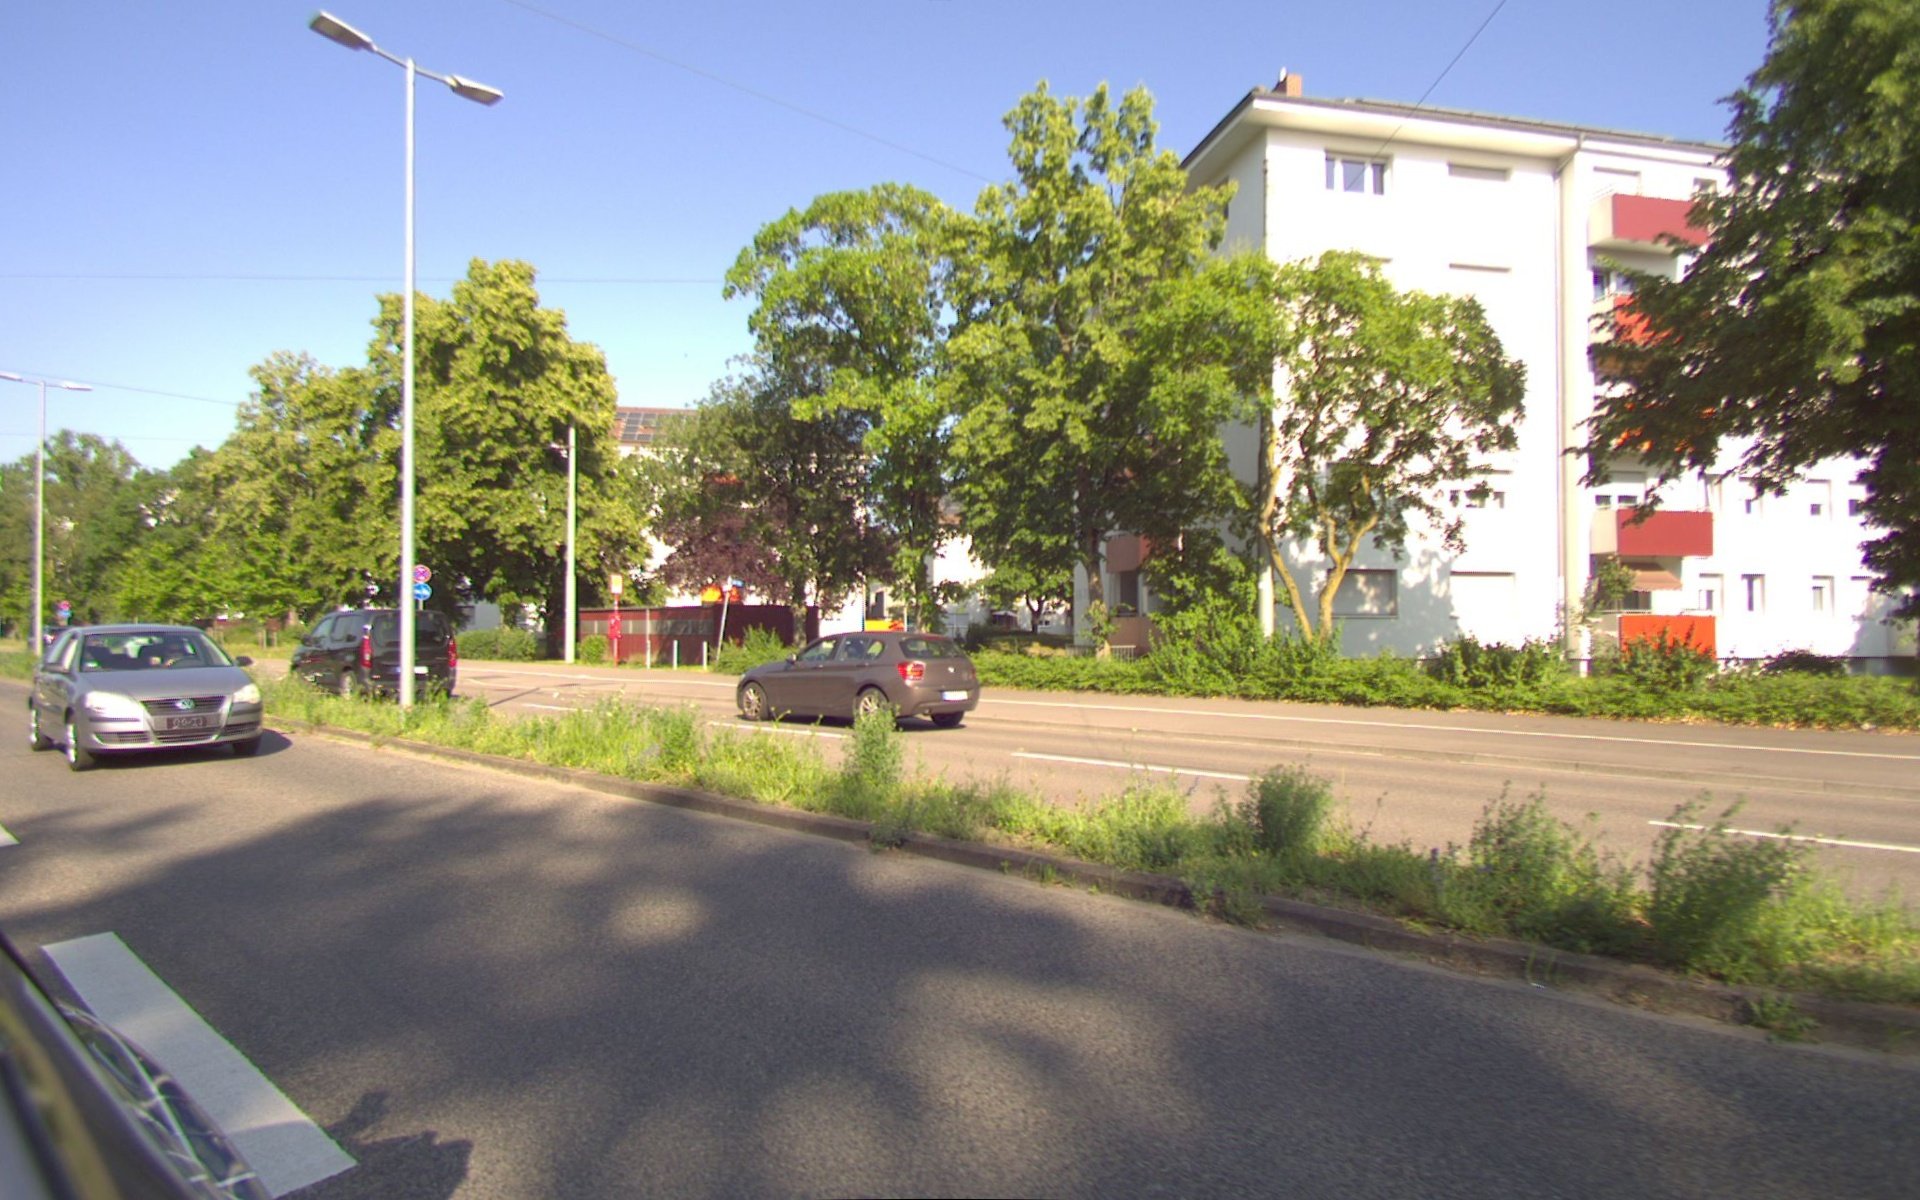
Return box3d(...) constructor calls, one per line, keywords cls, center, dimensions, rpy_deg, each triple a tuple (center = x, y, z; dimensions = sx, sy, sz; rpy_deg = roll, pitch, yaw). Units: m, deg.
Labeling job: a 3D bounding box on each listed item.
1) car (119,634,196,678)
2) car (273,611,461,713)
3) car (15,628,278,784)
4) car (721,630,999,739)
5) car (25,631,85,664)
box3d(cls="car", center=(-33.189, 2.286, 41.823), dimensions=(4.512, 1.692, 1.642), rpy_deg=(-2, -4, 41))
box3d(cls="car", center=(-11.706, 1.175, 19.855), dimensions=(4.477, 1.798, 1.772), rpy_deg=(-2, -4, 40))
box3d(cls="car", center=(-9.322, 1.069, 11.495), dimensions=(3.831, 1.439, 1.671), rpy_deg=(-2, -1, 41))
box3d(cls="car", center=(-1.621, 1.191, 15.356), dimensions=(4.323, 1.430, 1.706), rpy_deg=(-2, -3, 41))
box3d(cls="car", center=(-49.196, 2.564, 54.983), dimensions=(4.044, 1.692, 1.752), rpy_deg=(-2, -3, 39))
